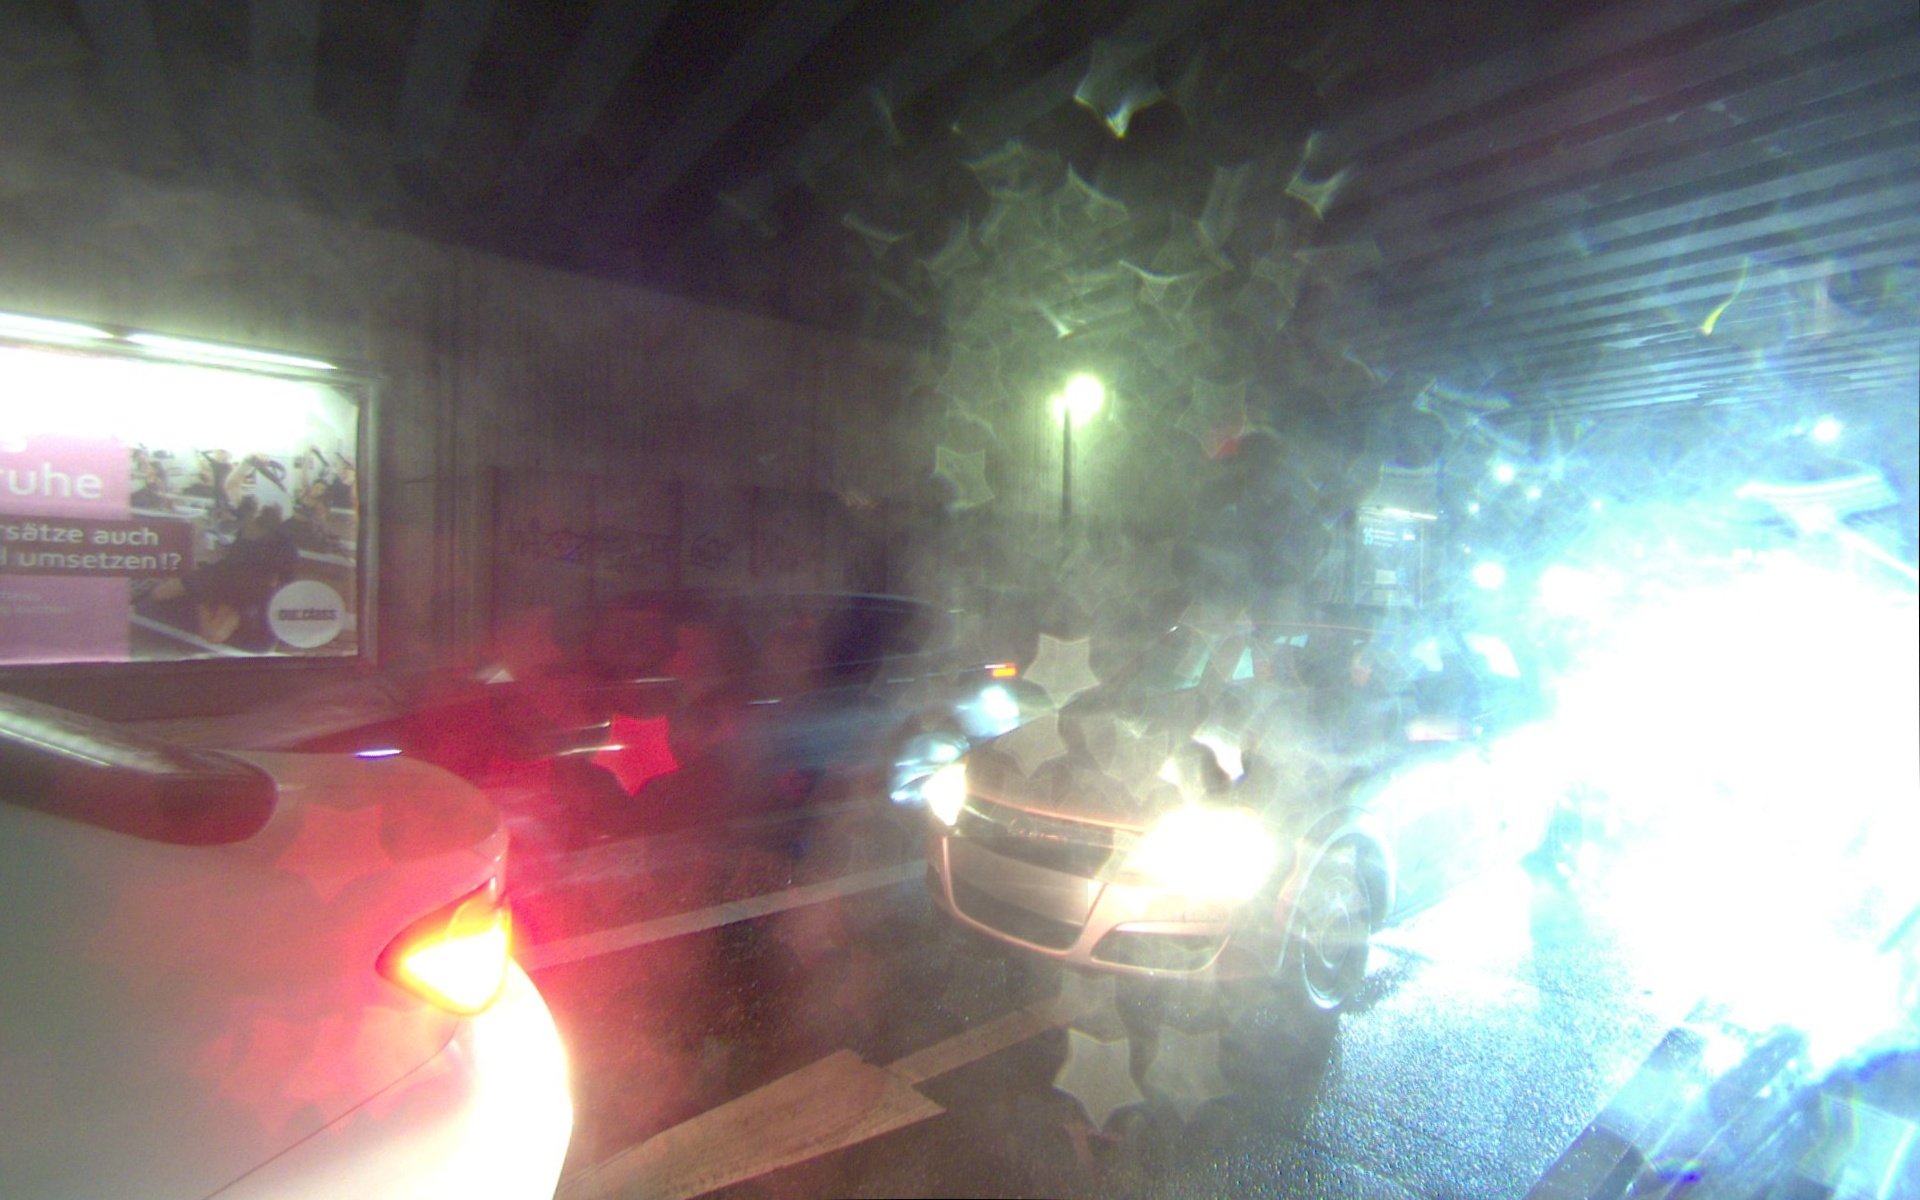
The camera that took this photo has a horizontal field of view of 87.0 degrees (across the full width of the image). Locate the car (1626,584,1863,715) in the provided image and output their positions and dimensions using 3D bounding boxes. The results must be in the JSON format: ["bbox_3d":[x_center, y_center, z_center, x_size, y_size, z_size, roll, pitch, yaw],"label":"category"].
[{"bbox_3d":[10.758,0.558,13.798,3.701,1.531,1.867,-1,0,-41],"label":"car"}]

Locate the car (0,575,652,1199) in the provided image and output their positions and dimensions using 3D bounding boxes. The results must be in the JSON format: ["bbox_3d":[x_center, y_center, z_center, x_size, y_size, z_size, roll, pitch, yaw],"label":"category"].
[{"bbox_3d":[-2.690,0.693,0.976,4.273,1.422,1.719,-1,0,-41],"label":"car"}]

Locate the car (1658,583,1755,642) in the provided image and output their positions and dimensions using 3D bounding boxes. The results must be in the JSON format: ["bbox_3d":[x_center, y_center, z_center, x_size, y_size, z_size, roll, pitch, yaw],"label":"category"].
[{"bbox_3d":[20.770,0.306,28.084,1.846,1.474,4.436,1,1,41],"label":"car"}]

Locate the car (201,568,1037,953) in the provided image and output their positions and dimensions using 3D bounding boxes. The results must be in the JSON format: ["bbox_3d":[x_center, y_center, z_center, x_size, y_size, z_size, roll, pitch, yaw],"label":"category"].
[{"bbox_3d":[-1.696,0.598,6.213,1.838,1.497,4.554,0,1,45],"label":"car"}]

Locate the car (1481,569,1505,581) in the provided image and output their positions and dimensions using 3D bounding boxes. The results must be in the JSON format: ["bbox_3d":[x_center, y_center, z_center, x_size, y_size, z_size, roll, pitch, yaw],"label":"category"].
[{"bbox_3d":[67.350,-3.139,127.877,1.856,1.490,3.980,0,0,16],"label":"car"}]

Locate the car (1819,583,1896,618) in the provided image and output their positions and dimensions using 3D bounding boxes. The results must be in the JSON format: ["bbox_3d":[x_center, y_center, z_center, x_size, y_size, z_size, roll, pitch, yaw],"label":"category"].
[{"bbox_3d":[40.813,0.007,46.113,1.840,1.503,4.434,2,1,32],"label":"car"}]

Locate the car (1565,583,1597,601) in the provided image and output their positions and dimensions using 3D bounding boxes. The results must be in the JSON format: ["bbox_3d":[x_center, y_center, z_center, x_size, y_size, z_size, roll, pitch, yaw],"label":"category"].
[{"bbox_3d":[54.414,-0.711,88.691,1.862,1.490,3.968,0,0,24],"label":"car"}]

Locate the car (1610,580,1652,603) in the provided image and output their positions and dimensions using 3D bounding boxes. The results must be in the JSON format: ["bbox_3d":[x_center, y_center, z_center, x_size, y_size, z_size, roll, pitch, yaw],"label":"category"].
[{"bbox_3d":[43.954,-0.573,66.318,1.865,1.490,3.961,0,0,28],"label":"car"}]

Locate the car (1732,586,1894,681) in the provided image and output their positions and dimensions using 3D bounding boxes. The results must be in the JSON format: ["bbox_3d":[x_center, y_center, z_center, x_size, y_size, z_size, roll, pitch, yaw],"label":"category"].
[{"bbox_3d":[15.355,0.517,18.148,3.930,1.522,1.628,-1,0,-41],"label":"car"}]

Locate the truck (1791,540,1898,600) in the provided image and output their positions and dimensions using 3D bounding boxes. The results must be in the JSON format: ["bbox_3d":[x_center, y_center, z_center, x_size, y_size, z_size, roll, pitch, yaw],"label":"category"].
[{"bbox_3d":[65.004,-2.150,74.584,3.922,4.229,6.332,0,0,21],"label":"truck"}]

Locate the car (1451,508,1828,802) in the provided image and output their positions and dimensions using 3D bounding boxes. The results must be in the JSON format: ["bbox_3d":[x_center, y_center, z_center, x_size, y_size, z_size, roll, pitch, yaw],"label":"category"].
[{"bbox_3d":[6.493,0.367,9.476,4.274,2.115,1.996,-1,0,-43],"label":"car"}]

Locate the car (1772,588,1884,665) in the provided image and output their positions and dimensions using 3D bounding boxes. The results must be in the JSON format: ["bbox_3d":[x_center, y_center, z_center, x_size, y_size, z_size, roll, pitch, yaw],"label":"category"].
[{"bbox_3d":[18.738,0.505,21.793,1.678,1.490,3.938,0,0,43],"label":"car"}]

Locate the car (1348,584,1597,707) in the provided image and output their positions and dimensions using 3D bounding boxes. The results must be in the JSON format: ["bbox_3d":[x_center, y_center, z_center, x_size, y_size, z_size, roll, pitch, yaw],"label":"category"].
[{"bbox_3d":[7.617,0.568,14.814,4.552,1.503,1.850,1,1,-44],"label":"car"}]

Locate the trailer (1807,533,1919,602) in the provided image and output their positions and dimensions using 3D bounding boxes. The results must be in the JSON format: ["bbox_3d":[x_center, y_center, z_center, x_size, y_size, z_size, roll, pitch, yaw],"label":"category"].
[{"bbox_3d":[62.582,-2.065,68.301,3.922,4.229,13.823,0,0,21],"label":"trailer"}]

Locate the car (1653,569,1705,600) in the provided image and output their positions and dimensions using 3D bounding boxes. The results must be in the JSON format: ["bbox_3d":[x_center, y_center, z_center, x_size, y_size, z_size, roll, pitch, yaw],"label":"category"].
[{"bbox_3d":[36.928,-0.820,52.065,1.839,1.449,4.454,0,2,31],"label":"car"}]

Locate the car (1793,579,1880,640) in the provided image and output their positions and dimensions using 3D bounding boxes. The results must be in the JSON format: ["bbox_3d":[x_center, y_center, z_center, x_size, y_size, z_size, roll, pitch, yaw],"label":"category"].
[{"bbox_3d":[24.575,0.224,28.348,1.737,1.610,3.939,0,0,42],"label":"car"}]

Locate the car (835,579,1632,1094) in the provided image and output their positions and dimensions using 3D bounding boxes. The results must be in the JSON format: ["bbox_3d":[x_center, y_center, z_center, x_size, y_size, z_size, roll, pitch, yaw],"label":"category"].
[{"bbox_3d":[1.549,0.629,4.821,3.931,1.384,1.791,-2,2,-41],"label":"car"}]
